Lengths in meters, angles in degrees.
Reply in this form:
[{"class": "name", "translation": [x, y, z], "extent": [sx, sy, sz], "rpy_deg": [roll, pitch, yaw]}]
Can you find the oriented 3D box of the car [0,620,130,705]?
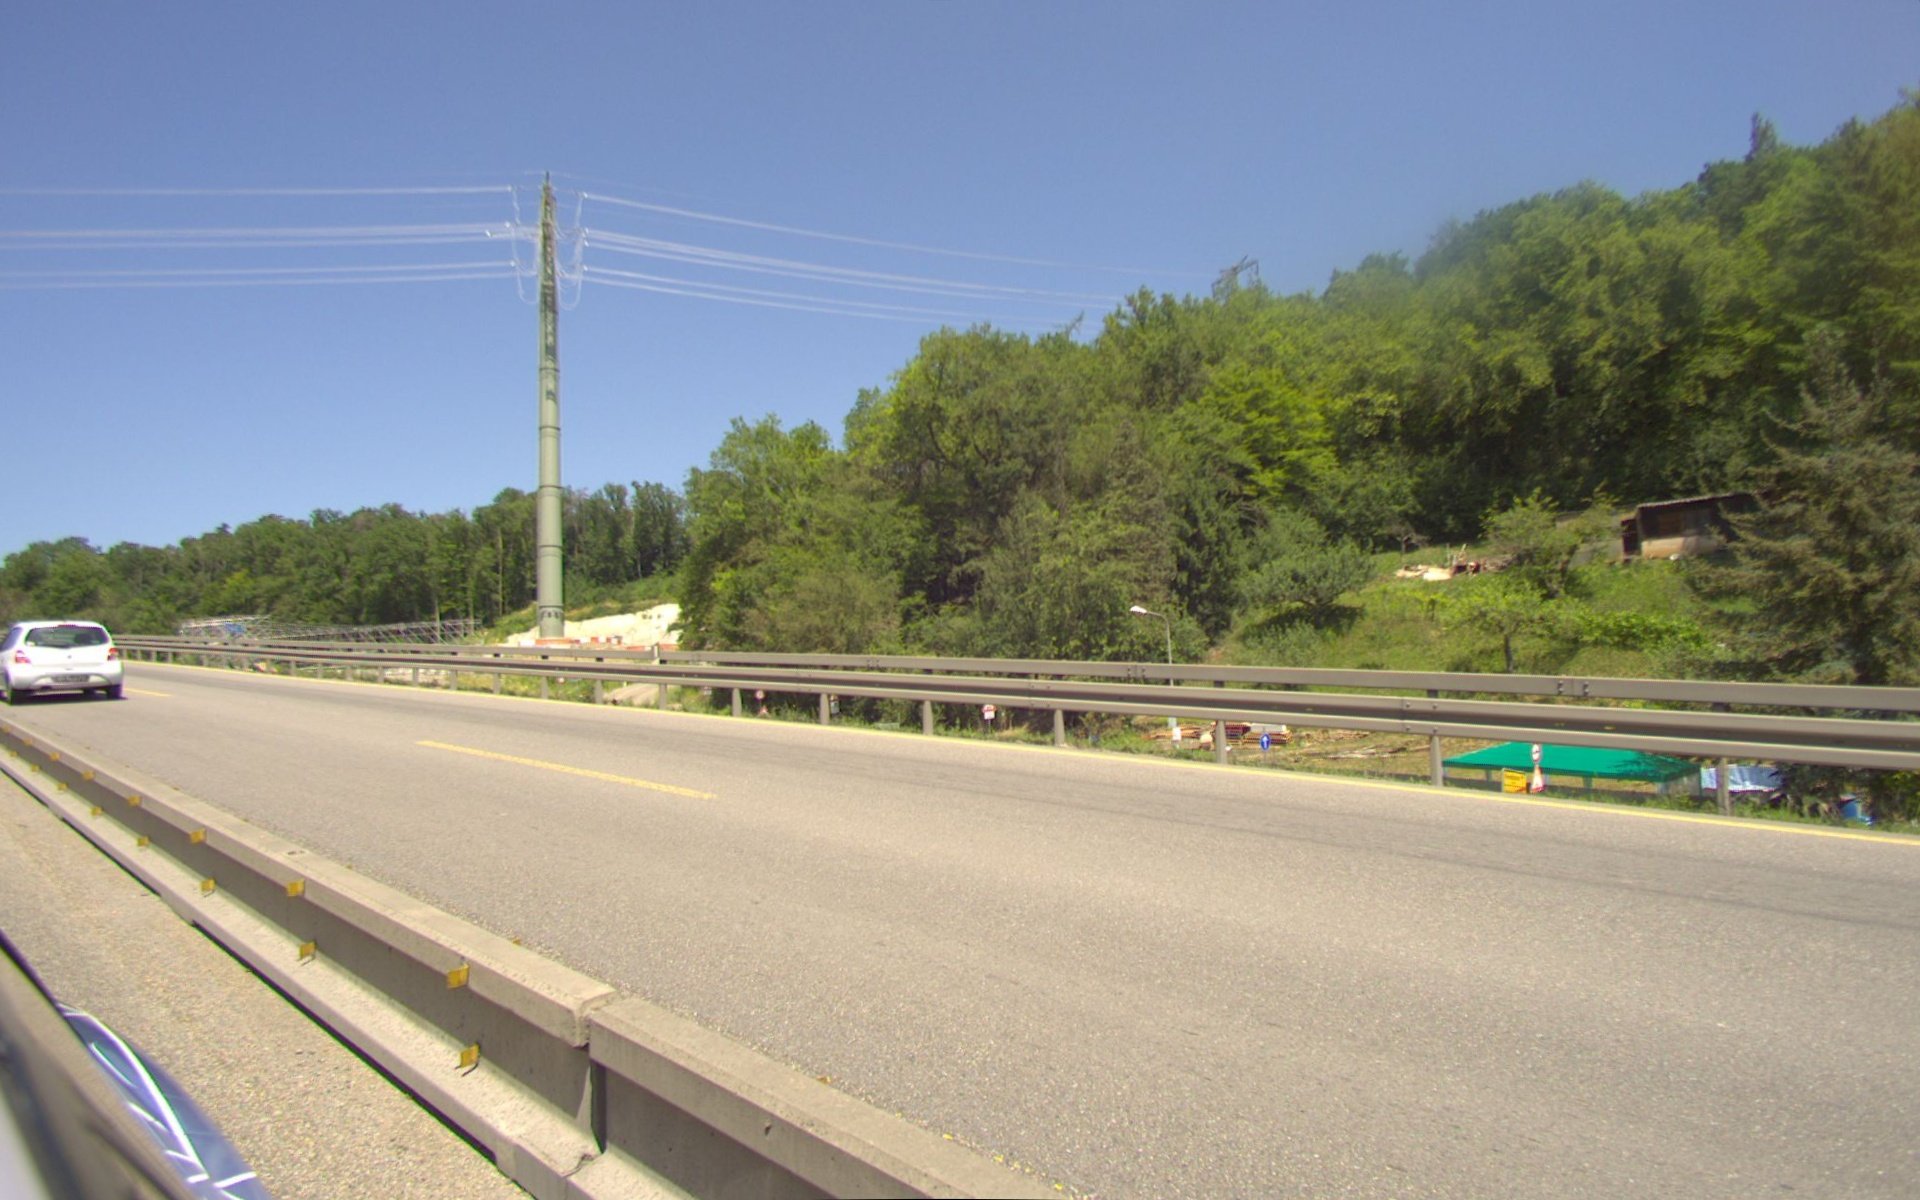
[{"class": "car", "translation": [-17.190, 1.137, 19.106], "extent": [3.707, 1.437, 1.729], "rpy_deg": [-2, -2, 40]}]
